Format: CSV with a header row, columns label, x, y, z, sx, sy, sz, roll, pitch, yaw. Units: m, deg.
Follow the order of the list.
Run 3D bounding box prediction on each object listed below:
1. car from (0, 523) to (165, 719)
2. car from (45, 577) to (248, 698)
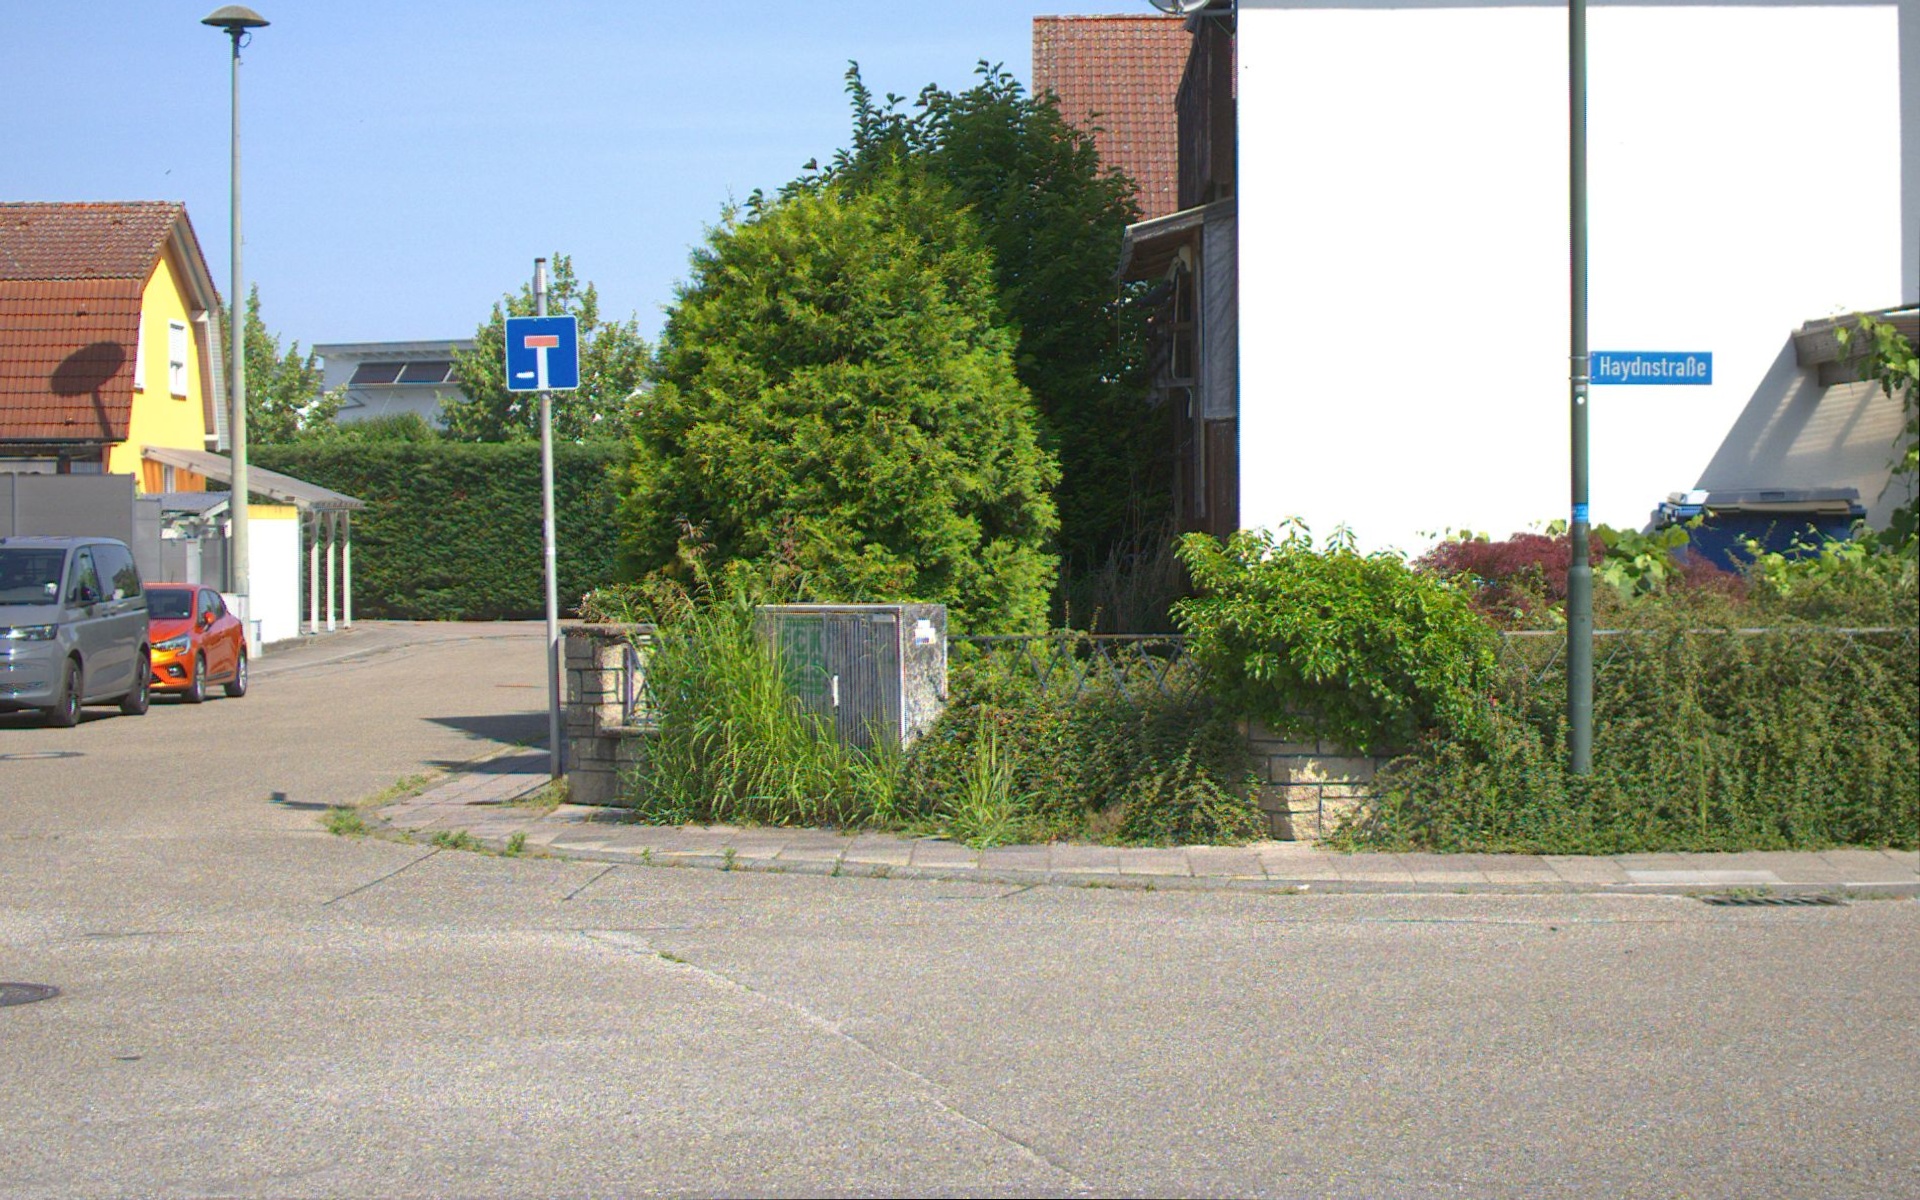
label,x,y,z,sx,sy,sz,roll,pitch,yaw
car,-9.604,0.166,35.013,1.901,1.863,4.371,0,1,1
car,-9.766,0.420,41.511,1.651,1.360,3.779,0,1,-2
